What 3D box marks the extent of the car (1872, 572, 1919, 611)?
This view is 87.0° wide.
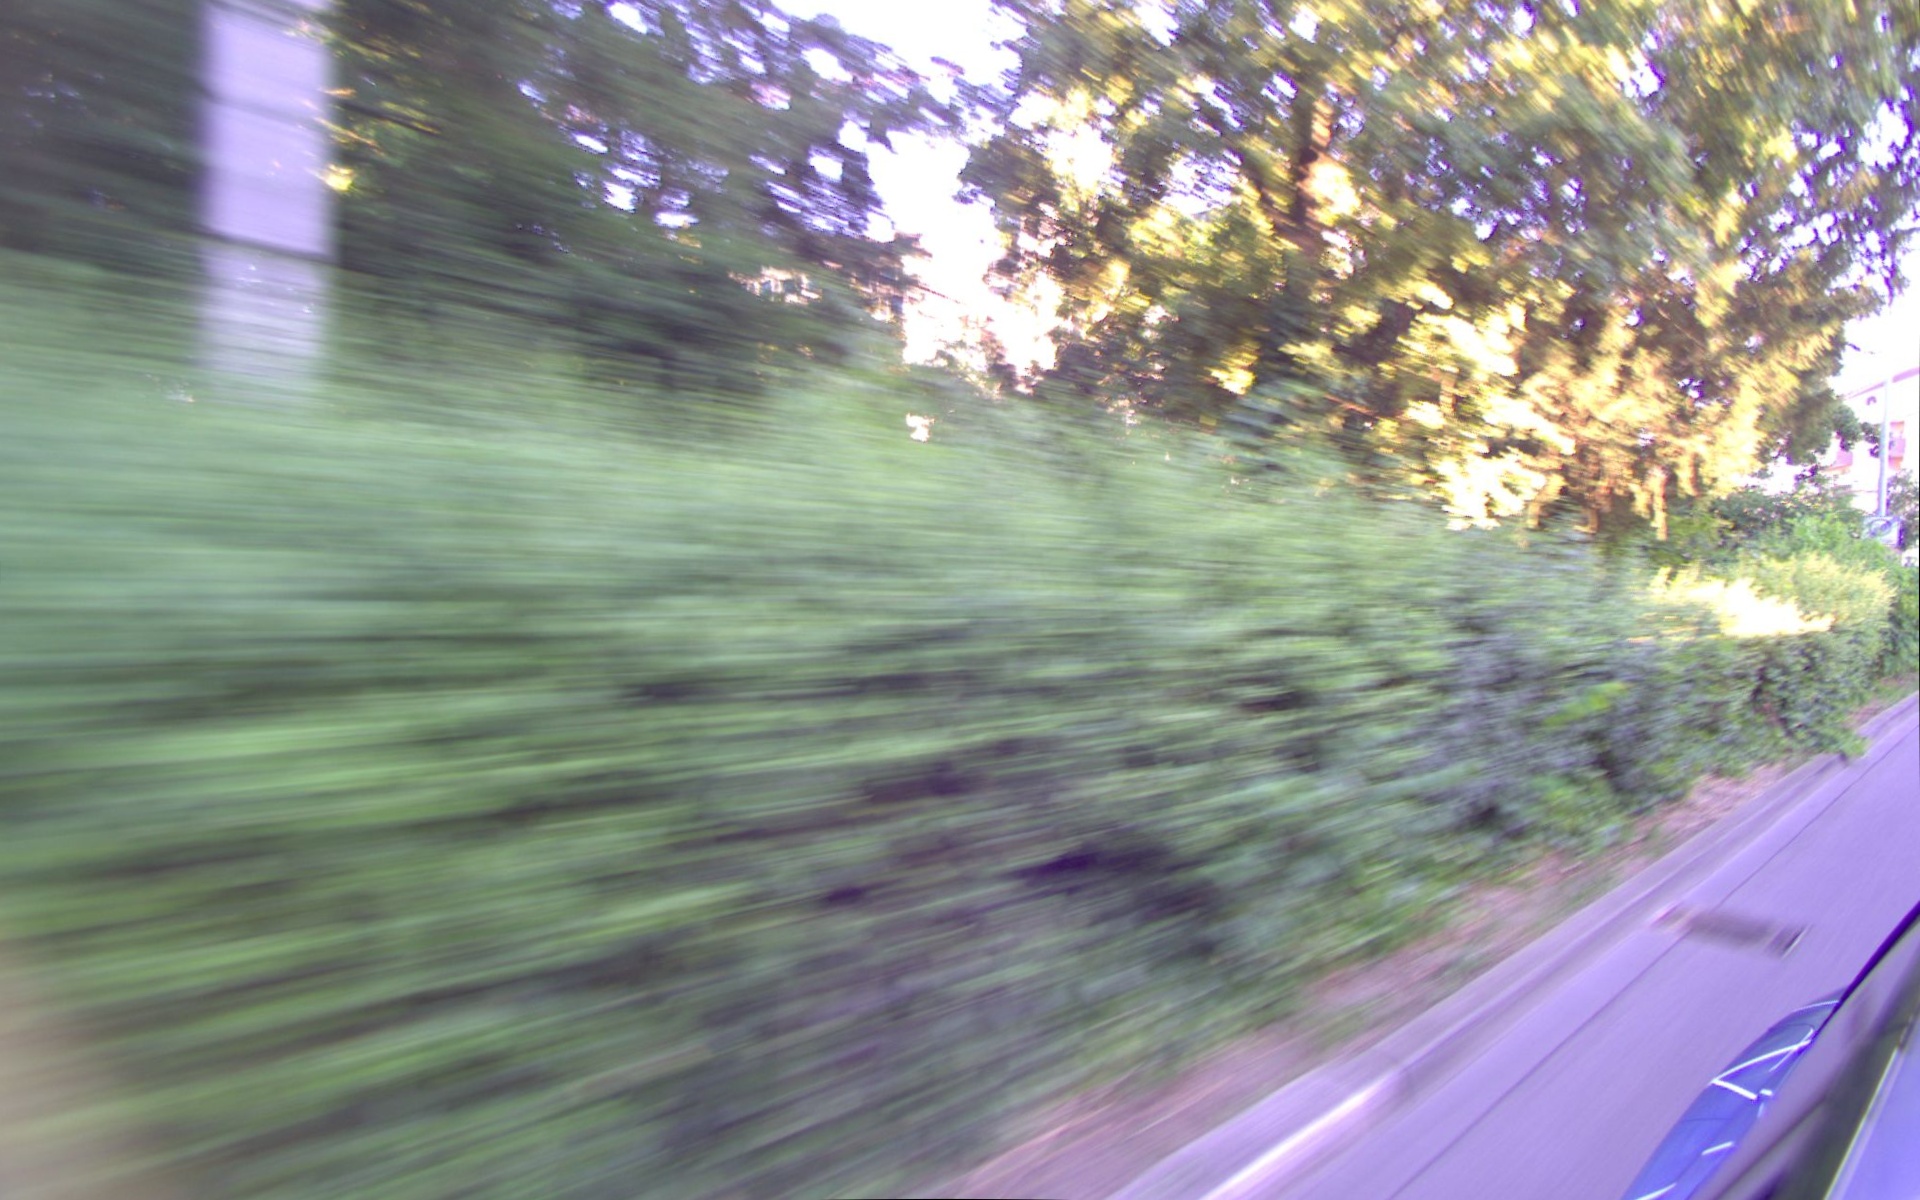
[{"bbox_3d":[36.288,-0.288,37.111,3.873,1.405,1.783,2,2,28],"label":"car"}]
